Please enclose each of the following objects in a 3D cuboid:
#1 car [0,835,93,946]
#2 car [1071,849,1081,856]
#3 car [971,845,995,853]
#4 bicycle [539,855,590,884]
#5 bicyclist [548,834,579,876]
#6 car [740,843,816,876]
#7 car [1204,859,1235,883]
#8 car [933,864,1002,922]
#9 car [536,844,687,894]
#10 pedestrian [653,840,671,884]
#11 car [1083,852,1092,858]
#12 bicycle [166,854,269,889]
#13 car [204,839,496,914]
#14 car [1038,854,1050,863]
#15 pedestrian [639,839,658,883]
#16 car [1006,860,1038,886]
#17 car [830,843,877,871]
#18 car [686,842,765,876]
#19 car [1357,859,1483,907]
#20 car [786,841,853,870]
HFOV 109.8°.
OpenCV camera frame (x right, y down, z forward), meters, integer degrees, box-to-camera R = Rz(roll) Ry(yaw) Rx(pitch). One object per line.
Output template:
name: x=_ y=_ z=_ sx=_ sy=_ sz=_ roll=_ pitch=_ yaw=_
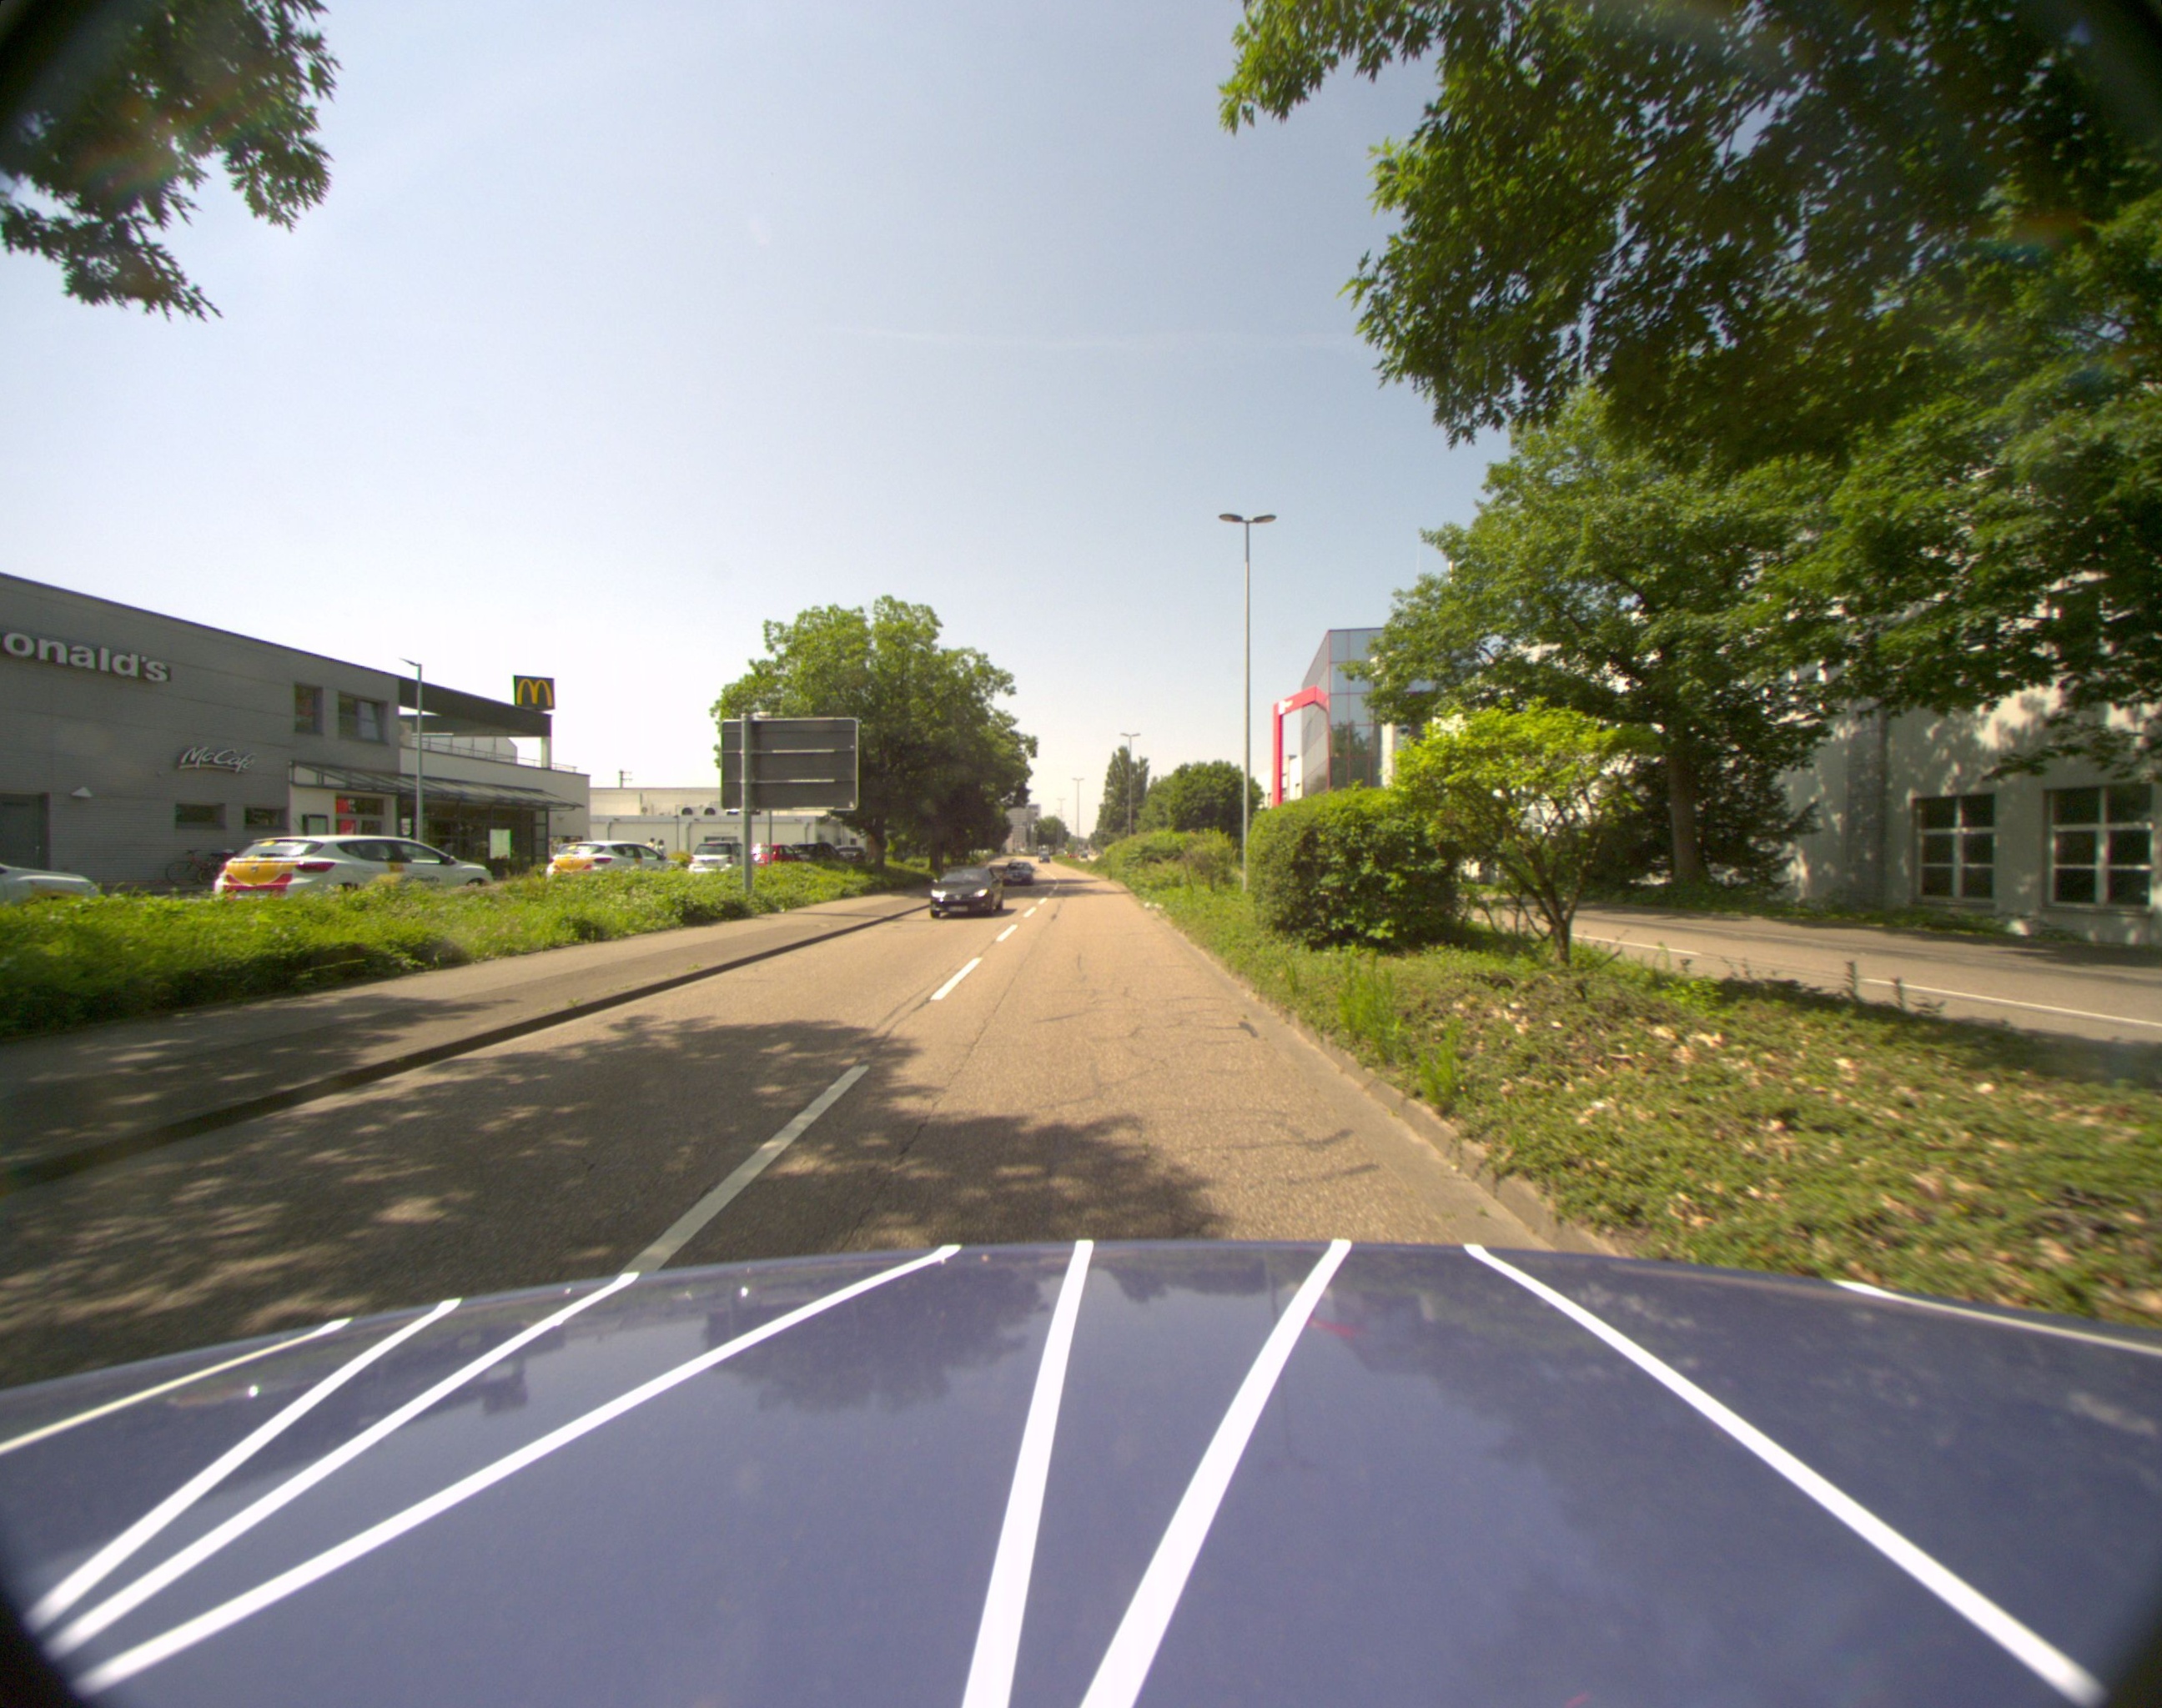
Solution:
car: x=-12.988 y=0.440 z=7.523 sx=1.623 sy=1.246 sz=3.629 roll=-1 pitch=1 yaw=0
car: x=-1.050 y=-0.381 z=151.181 sx=1.734 sy=1.316 sz=4.147 roll=1 pitch=1 yaw=-4
car: x=-19.078 y=-0.961 z=147.823 sx=4.589 sy=1.496 sz=1.697 roll=0 pitch=1 yaw=-4
bicycle: x=-22.418 y=0.654 z=33.040 sx=0.692 sy=1.218 sz=2.243 roll=0 pitch=0 yaw=-1
bicyclist: x=-22.424 y=0.028 z=32.938 sx=0.780 sy=1.794 sz=0.864 roll=0 pitch=1 yaw=-1
car: x=-12.496 y=0.175 z=31.560 sx=1.623 sy=1.246 sz=3.762 roll=-1 pitch=1 yaw=0
car: x=10.625 y=1.273 z=58.563 sx=1.693 sy=1.642 sz=3.629 roll=-1 pitch=1 yaw=-1
car: x=-3.120 y=1.035 z=21.478 sx=1.641 sy=1.349 sz=3.497 roll=-1 pitch=1 yaw=-4
car: x=-13.155 y=0.364 z=21.587 sx=1.622 sy=1.246 sz=3.867 roll=-1 pitch=1 yaw=4
pedestrian: x=-18.499 y=0.356 z=33.551 sx=0.467 sy=1.910 sz=0.534 roll=0 pitch=1 yaw=1
car: x=1.424 y=0.202 z=177.080 sx=1.727 sy=1.408 sz=4.244 roll=2 pitch=0 yaw=-5
bicycle: x=-25.418 y=0.489 z=22.425 sx=0.590 sy=0.974 sz=2.102 roll=1 pitch=0 yaw=2
car: x=-12.891 y=0.324 z=13.773 sx=1.597 sy=1.151 sz=3.737 roll=-1 pitch=1 yaw=1
car: x=-5.621 y=0.675 z=116.116 sx=1.868 sy=1.390 sz=3.999 roll=1 pitch=0 yaw=-2
pedestrian: x=-19.065 y=0.309 z=33.498 sx=0.583 sy=1.910 sz=0.409 roll=0 pitch=1 yaw=1
car: x=-3.442 y=1.042 z=43.916 sx=1.712 sy=1.316 sz=3.953 roll=-1 pitch=1 yaw=-5
car: x=-12.946 y=0.108 z=43.482 sx=1.912 sy=1.443 sz=5.595 roll=-1 pitch=1 yaw=-10
car: x=-12.701 y=0.141 z=27.293 sx=1.511 sy=1.116 sz=2.855 roll=-1 pitch=1 yaw=-1
car: x=11.913 y=0.966 z=27.179 sx=2.132 sy=1.442 sz=5.241 roll=2 pitch=0 yaw=0
car: x=-12.536 y=0.031 z=36.635 sx=1.623 sy=1.246 sz=4.198 roll=-3 pitch=1 yaw=1
